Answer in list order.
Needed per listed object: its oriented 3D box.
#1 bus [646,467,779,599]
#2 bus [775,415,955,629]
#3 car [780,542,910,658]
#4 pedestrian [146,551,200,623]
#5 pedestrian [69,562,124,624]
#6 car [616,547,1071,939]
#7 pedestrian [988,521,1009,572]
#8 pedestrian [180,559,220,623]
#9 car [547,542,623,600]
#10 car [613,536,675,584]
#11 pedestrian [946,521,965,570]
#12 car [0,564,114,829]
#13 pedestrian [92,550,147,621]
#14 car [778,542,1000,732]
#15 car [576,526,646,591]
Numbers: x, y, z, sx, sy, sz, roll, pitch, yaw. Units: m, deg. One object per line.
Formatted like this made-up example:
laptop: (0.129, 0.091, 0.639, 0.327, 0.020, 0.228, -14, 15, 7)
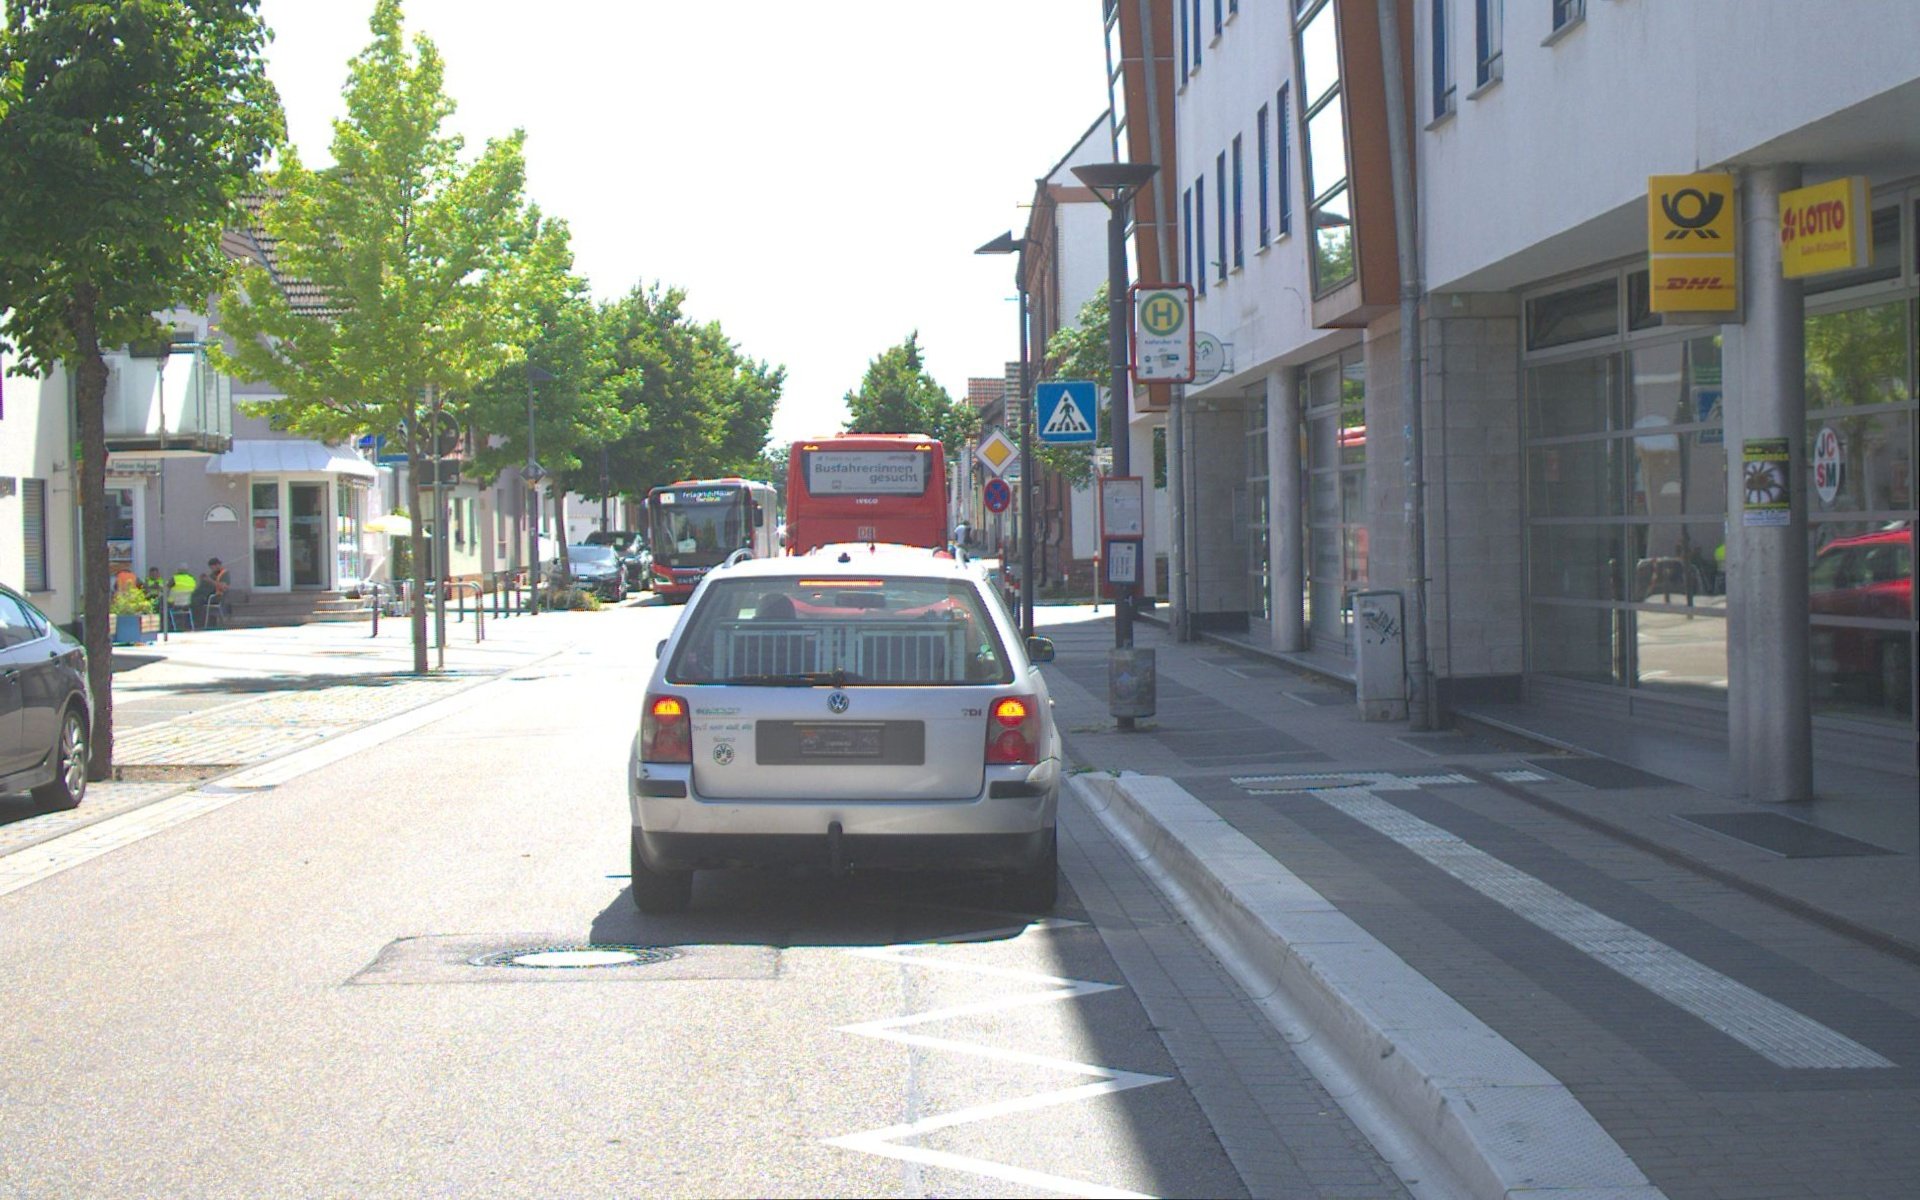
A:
bus: (-6.513, -1.845, 92.900, 2.668, 3.113, 17.809, -3, 1, -2)
bus: (-1.794, -1.290, 59.115, 2.740, 3.287, 12.707, 0, 1, -3)
car: (-1.447, -0.030, 44.458, 1.593, 1.425, 3.680, 0, 1, -1)
pedestrian: (-14.465, -0.238, 63.186, 0.634, 1.284, 0.789, 1, 1, -45)
pedestrian: (-15.682, -0.129, 62.441, 0.634, 1.112, 0.789, 1, 1, -45)
car: (-0.492, 0.511, 14.771, 1.677, 1.425, 3.680, 1, 1, -2)
pedestrian: (1.264, -1.766, 112.804, 0.606, 1.661, 0.789, -1, 1, -3)
pedestrian: (-14.204, -0.166, 64.262, 0.622, 1.175, 0.697, -1, 1, -6)
car: (-9.585, -0.754, 88.021, 1.605, 1.433, 4.065, -1, 1, -2)
car: (-10.487, -1.349, 114.320, 1.811, 1.553, 4.000, -1, 1, -2)
pedestrian: (-0.153, -1.854, 117.642, 0.606, 1.661, 0.789, -1, 1, -3)
car: (-6.116, 0.546, 19.273, 1.660, 1.432, 4.539, -1, 1, -1)
pedestrian: (-15.477, -0.263, 63.329, 0.634, 1.284, 0.789, 1, 1, -45)
car: (-0.597, 0.252, 28.086, 1.677, 1.425, 3.680, 1, 1, -2)
car: (-10.179, -1.221, 100.448, 1.764, 1.831, 3.789, -1, 1, -2)
